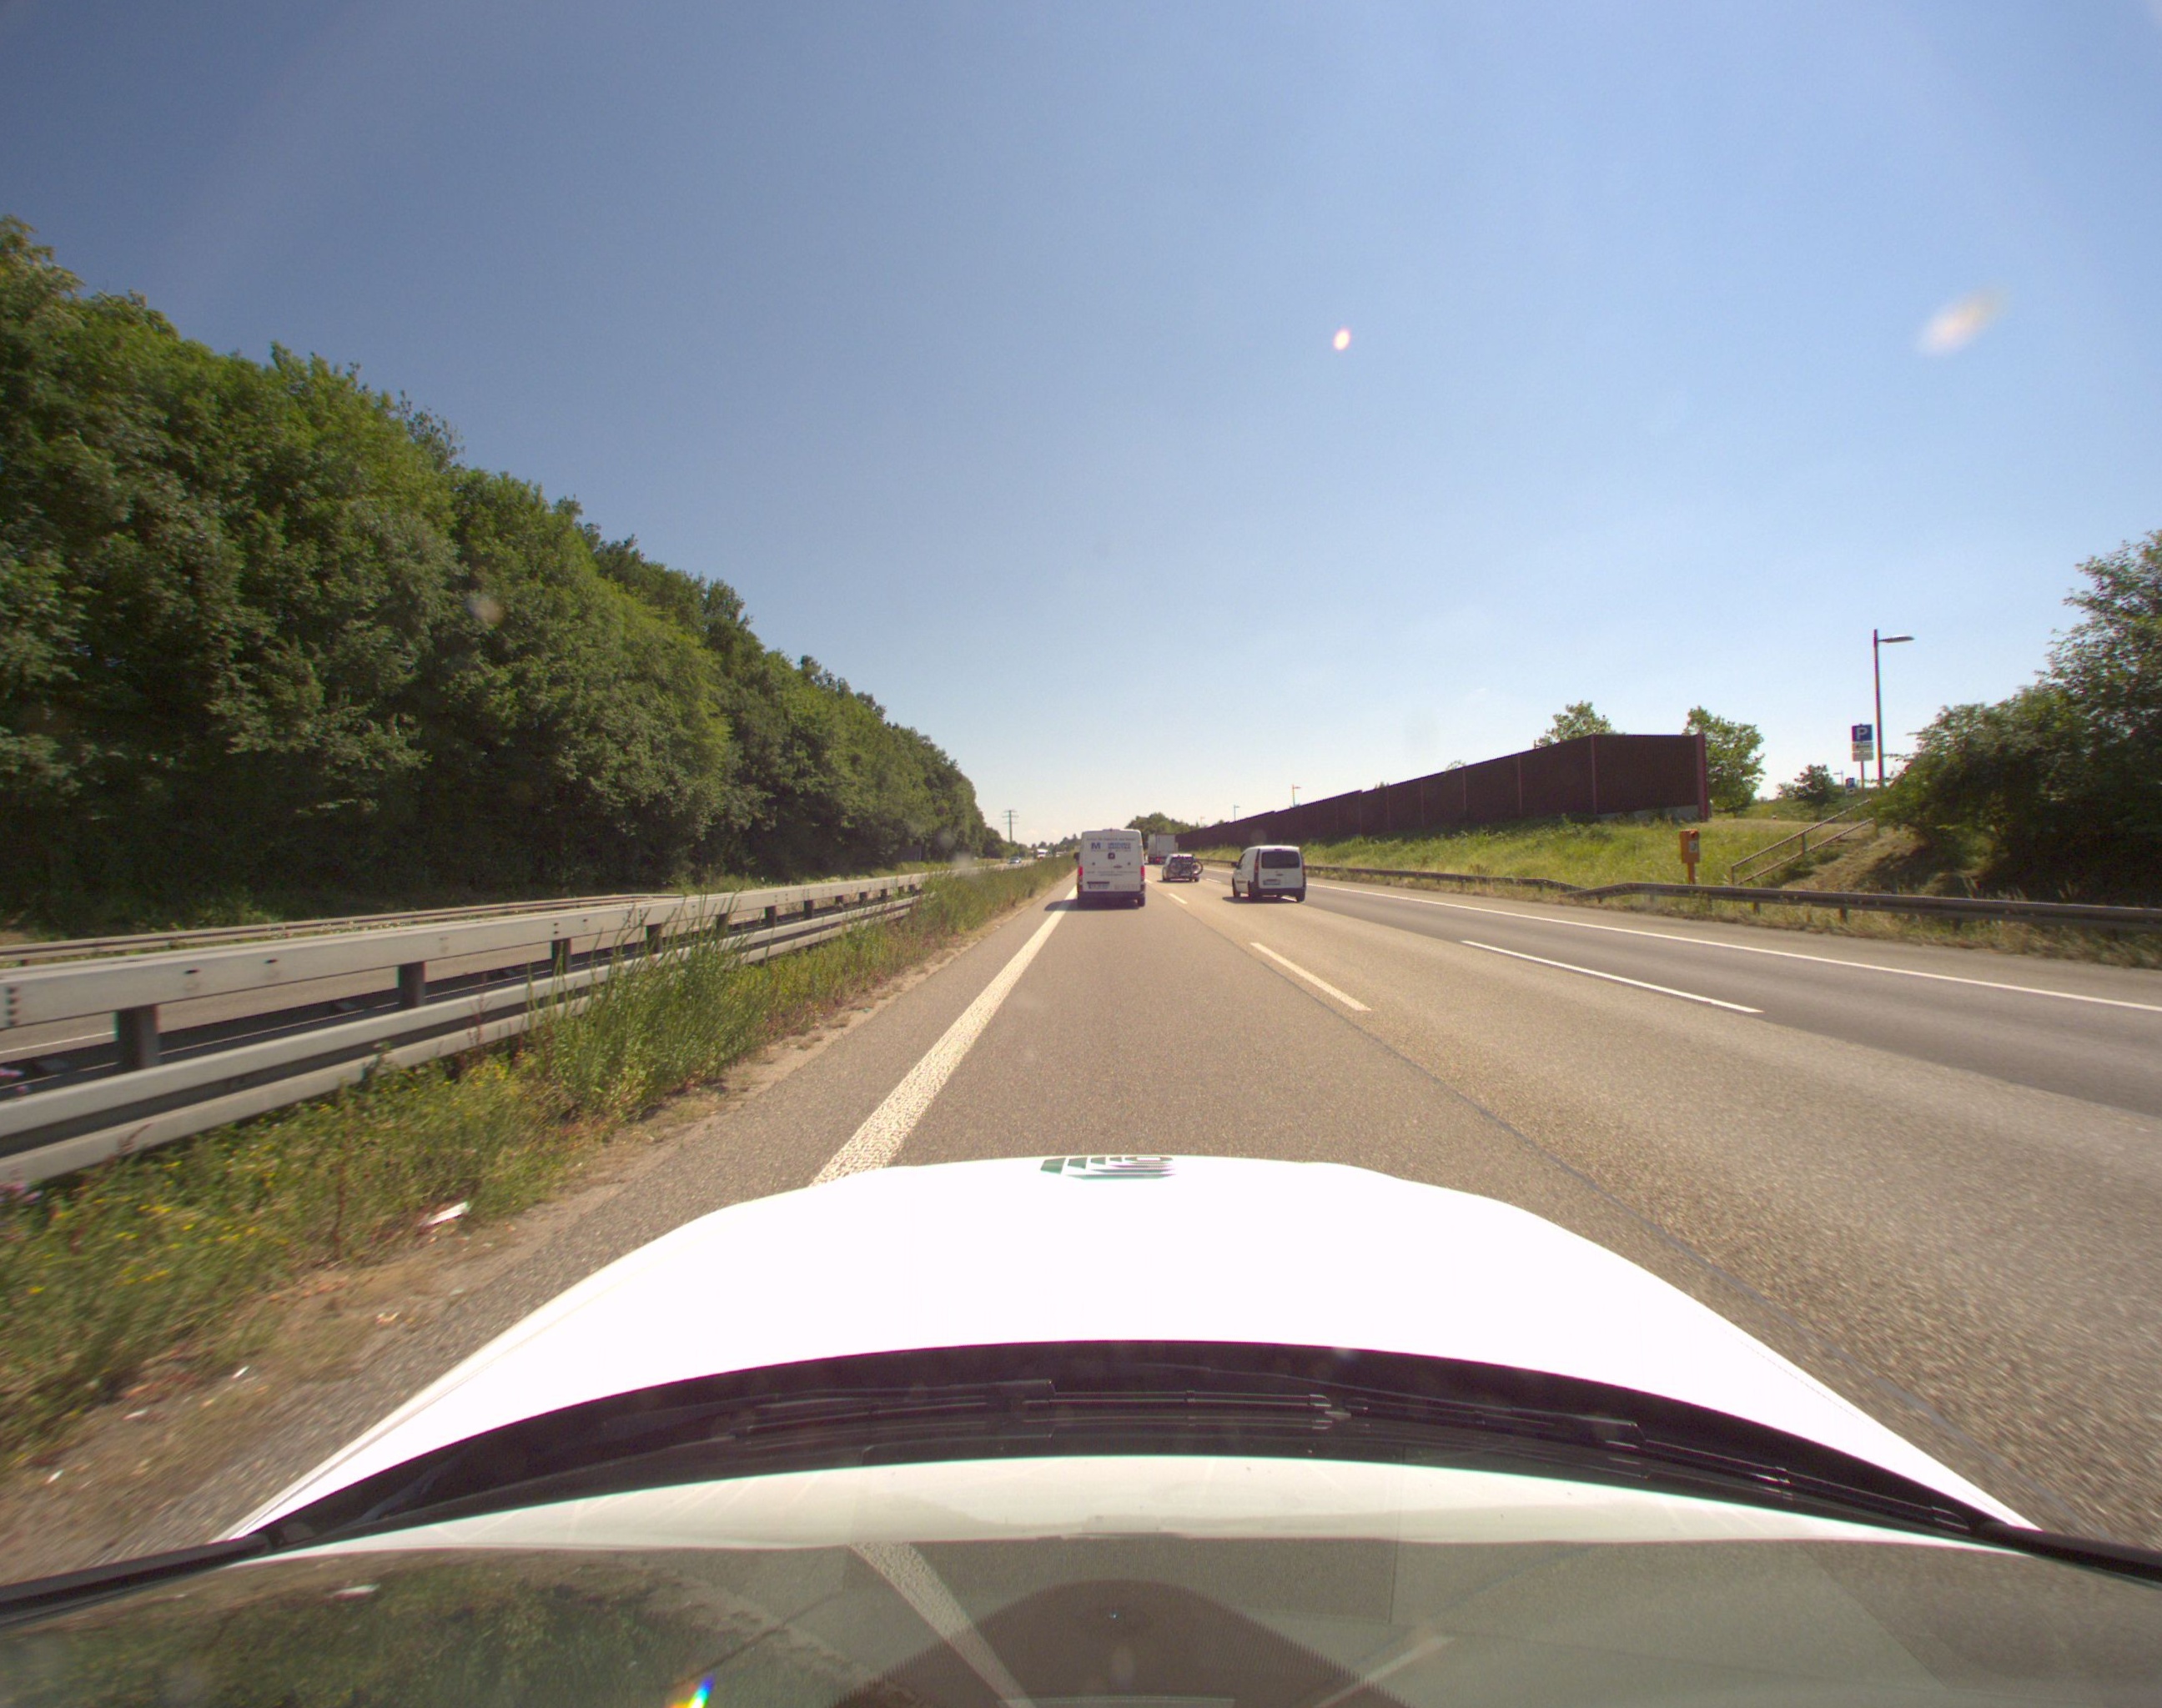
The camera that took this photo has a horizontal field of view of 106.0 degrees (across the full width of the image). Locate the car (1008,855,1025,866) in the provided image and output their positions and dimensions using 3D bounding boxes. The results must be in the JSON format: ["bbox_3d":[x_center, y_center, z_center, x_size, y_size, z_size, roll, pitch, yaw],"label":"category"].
[{"bbox_3d":[-9.463,0.940,119.439,1.986,1.519,4.723,-3,0,2],"label":"car"}]

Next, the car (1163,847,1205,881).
[{"bbox_3d":[5.620,0.555,44.875,1.967,1.733,4.092,-2,-1,3],"label":"car"}]

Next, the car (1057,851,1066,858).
[{"bbox_3d":[-4.812,0.205,201.489,1.986,1.587,4.427,-3,0,1],"label":"car"}]

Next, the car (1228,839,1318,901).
[{"bbox_3d":[6.277,0.517,27.087,1.944,1.838,4.177,-2,-1,-1],"label":"car"}]

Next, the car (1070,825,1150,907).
[{"bbox_3d":[0.775,0.363,25.394,2.176,2.254,5.359,0,-1,-1],"label":"car"}]

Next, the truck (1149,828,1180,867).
[{"bbox_3d":[11.309,-0.754,111.192,3.772,5.000,12.529,0,-1,4],"label":"truck"}]

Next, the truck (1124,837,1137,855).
[{"bbox_3d":[14.120,-2.150,231.443,3.772,5.000,12.529,0,-1,4],"label":"truck"}]
